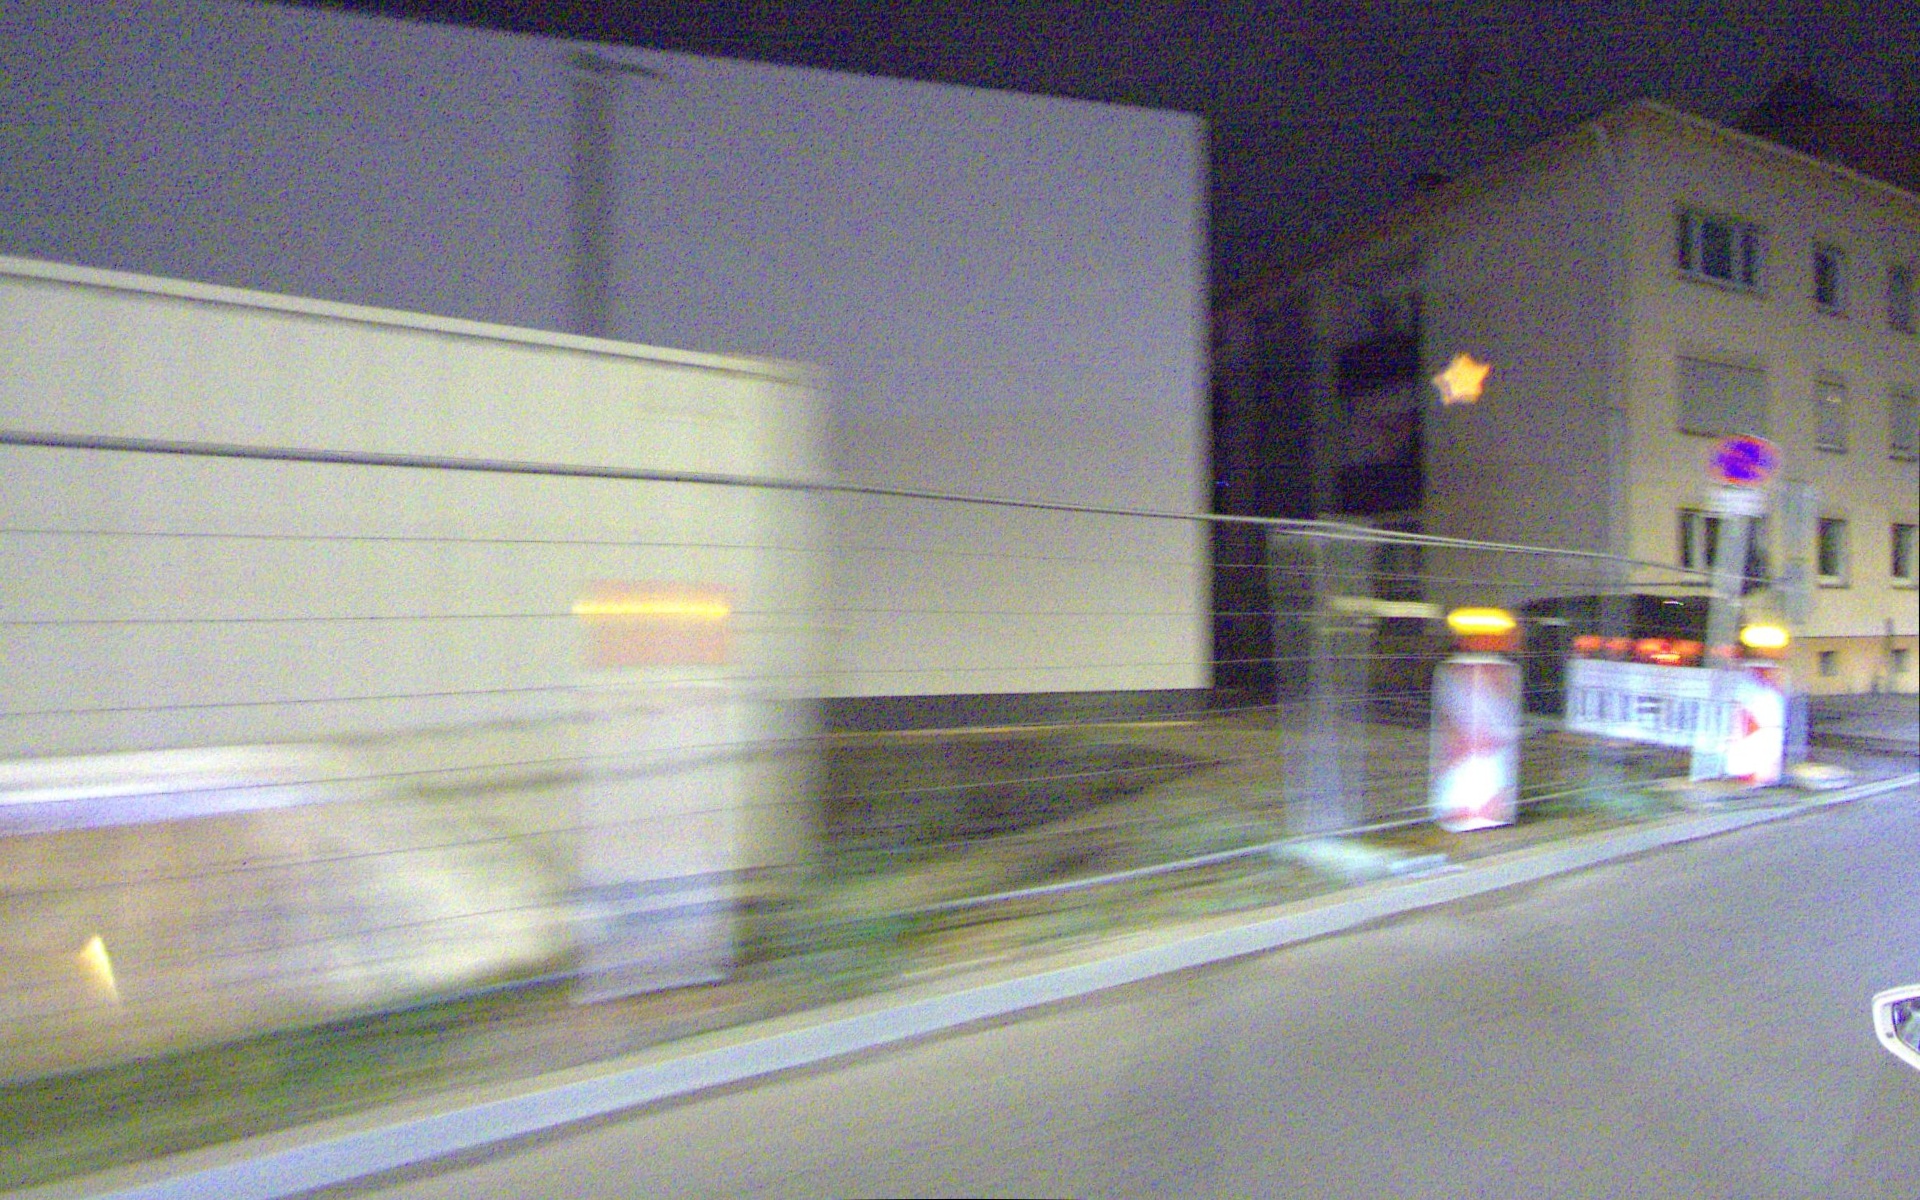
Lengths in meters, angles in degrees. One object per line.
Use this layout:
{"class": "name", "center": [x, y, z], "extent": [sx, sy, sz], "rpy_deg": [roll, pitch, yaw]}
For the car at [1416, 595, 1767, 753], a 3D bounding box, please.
{"class": "car", "center": [8.790, 0.953, 14.402], "extent": [1.880, 1.914, 3.982], "rpy_deg": [1, -1, -20]}
